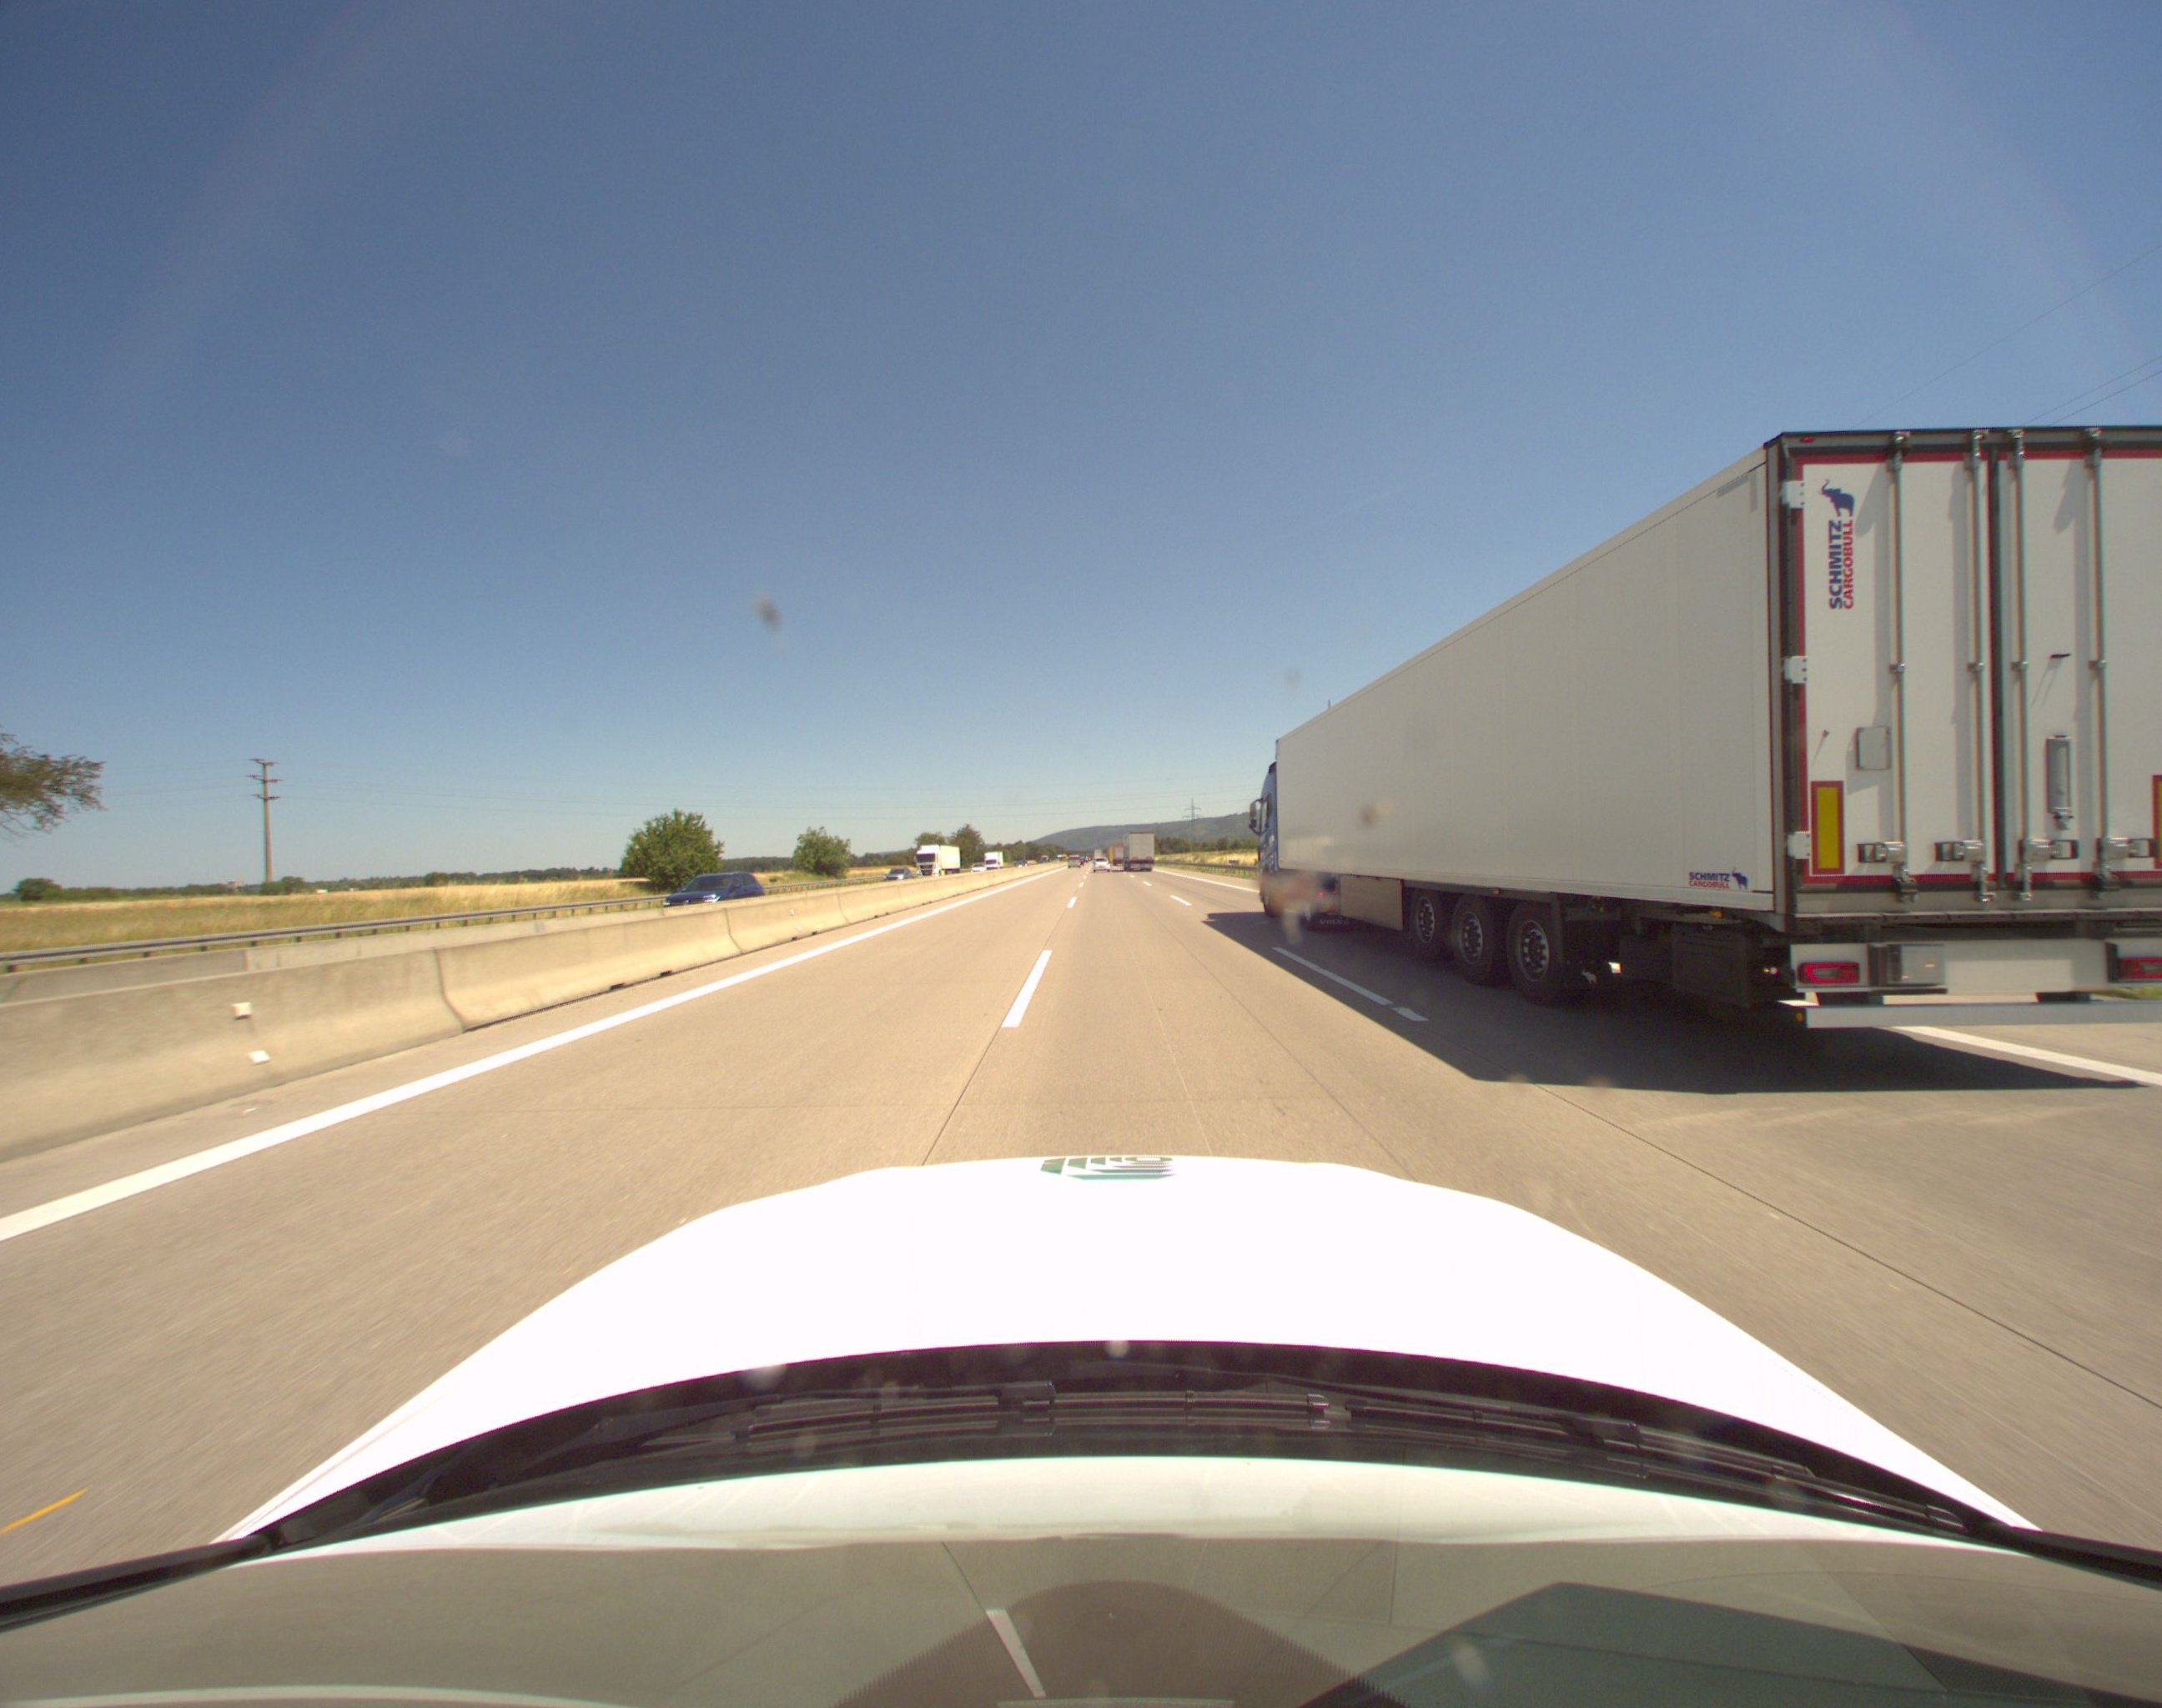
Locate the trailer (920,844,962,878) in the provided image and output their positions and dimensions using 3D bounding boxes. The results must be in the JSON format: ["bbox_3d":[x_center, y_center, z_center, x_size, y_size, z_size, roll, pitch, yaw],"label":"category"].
[{"bbox_3d":[-17.661,0.836,103.753,2.809,4.044,12.681,-1,0,2],"label":"trailer"}]

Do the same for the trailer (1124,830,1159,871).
[{"bbox_3d":[6.411,-0.284,88.341,3.007,4.061,14.210,-1,0,1],"label":"trailer"}]

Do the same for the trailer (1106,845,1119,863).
[{"bbox_3d":[8.045,0.064,209.905,3.204,4.564,13.459,-1,0,1],"label":"trailer"}]

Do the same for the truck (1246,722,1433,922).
[{"bbox_3d":[5.801,-0.636,19.262,2.740,4.044,5.467,-1,0,1],"label":"truck"}]

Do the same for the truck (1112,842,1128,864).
[{"bbox_3d":[7.372,-0.141,153.782,2.895,4.101,6.274,-1,0,2],"label":"truck"}]

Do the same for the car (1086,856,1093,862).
[{"bbox_3d":[2.487,1.530,240.002,1.777,1.881,4.001,-1,0,1],"label":"car"}]

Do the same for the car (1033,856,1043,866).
[{"bbox_3d":[-12.770,2.085,241.107,2.239,2.786,6.795,-1,0,2],"label":"car"}]

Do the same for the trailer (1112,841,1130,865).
[{"bbox_3d":[7.193,-0.169,148.239,2.863,4.101,13.517,-1,0,2],"label":"trailer"}]

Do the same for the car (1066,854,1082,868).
[{"bbox_3d":[-1.006,1.050,126.112,2.246,2.014,4.299,-1,0,2],"label":"car"}]

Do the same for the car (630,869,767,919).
[{"bbox_3d":[-11.130,1.120,24.121,1.765,1.240,4.677,-1,0,1],"label":"car"}]

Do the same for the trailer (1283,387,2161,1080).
[{"bbox_3d":[5.633,-0.681,11.227,2.699,4.043,12.904,-1,0,1],"label":"trailer"}]

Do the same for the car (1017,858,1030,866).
[{"bbox_3d":[-9.865,1.335,140.028,1.839,1.351,4.496,-2,0,2],"label":"car"}]

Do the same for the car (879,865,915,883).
[{"bbox_3d":[-14.843,1.581,65.774,1.729,1.373,4.906,-1,0,1],"label":"car"}]

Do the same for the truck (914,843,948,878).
[{"bbox_3d":[-17.858,0.800,97.054,2.808,4.044,5.679,-1,0,1],"label":"truck"}]

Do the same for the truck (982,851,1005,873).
[{"bbox_3d":[-13.329,1.183,124.481,2.538,3.142,7.923,-1,0,1],"label":"truck"}]

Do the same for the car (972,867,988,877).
[{"bbox_3d":[-13.569,2.421,109.434,1.676,1.146,4.394,-2,0,-2],"label":"car"}]

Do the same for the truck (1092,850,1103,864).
[{"bbox_3d":[5.273,1.027,263.458,3.341,4.272,8.230,-1,0,1],"label":"truck"}]

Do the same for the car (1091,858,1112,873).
[{"bbox_3d":[2.152,1.201,84.742,2.099,1.536,4.124,-1,0,2],"label":"car"}]

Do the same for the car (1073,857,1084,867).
[{"bbox_3d":[-0.404,1.587,157.895,1.986,1.957,4.001,-1,0,1],"label":"car"}]
